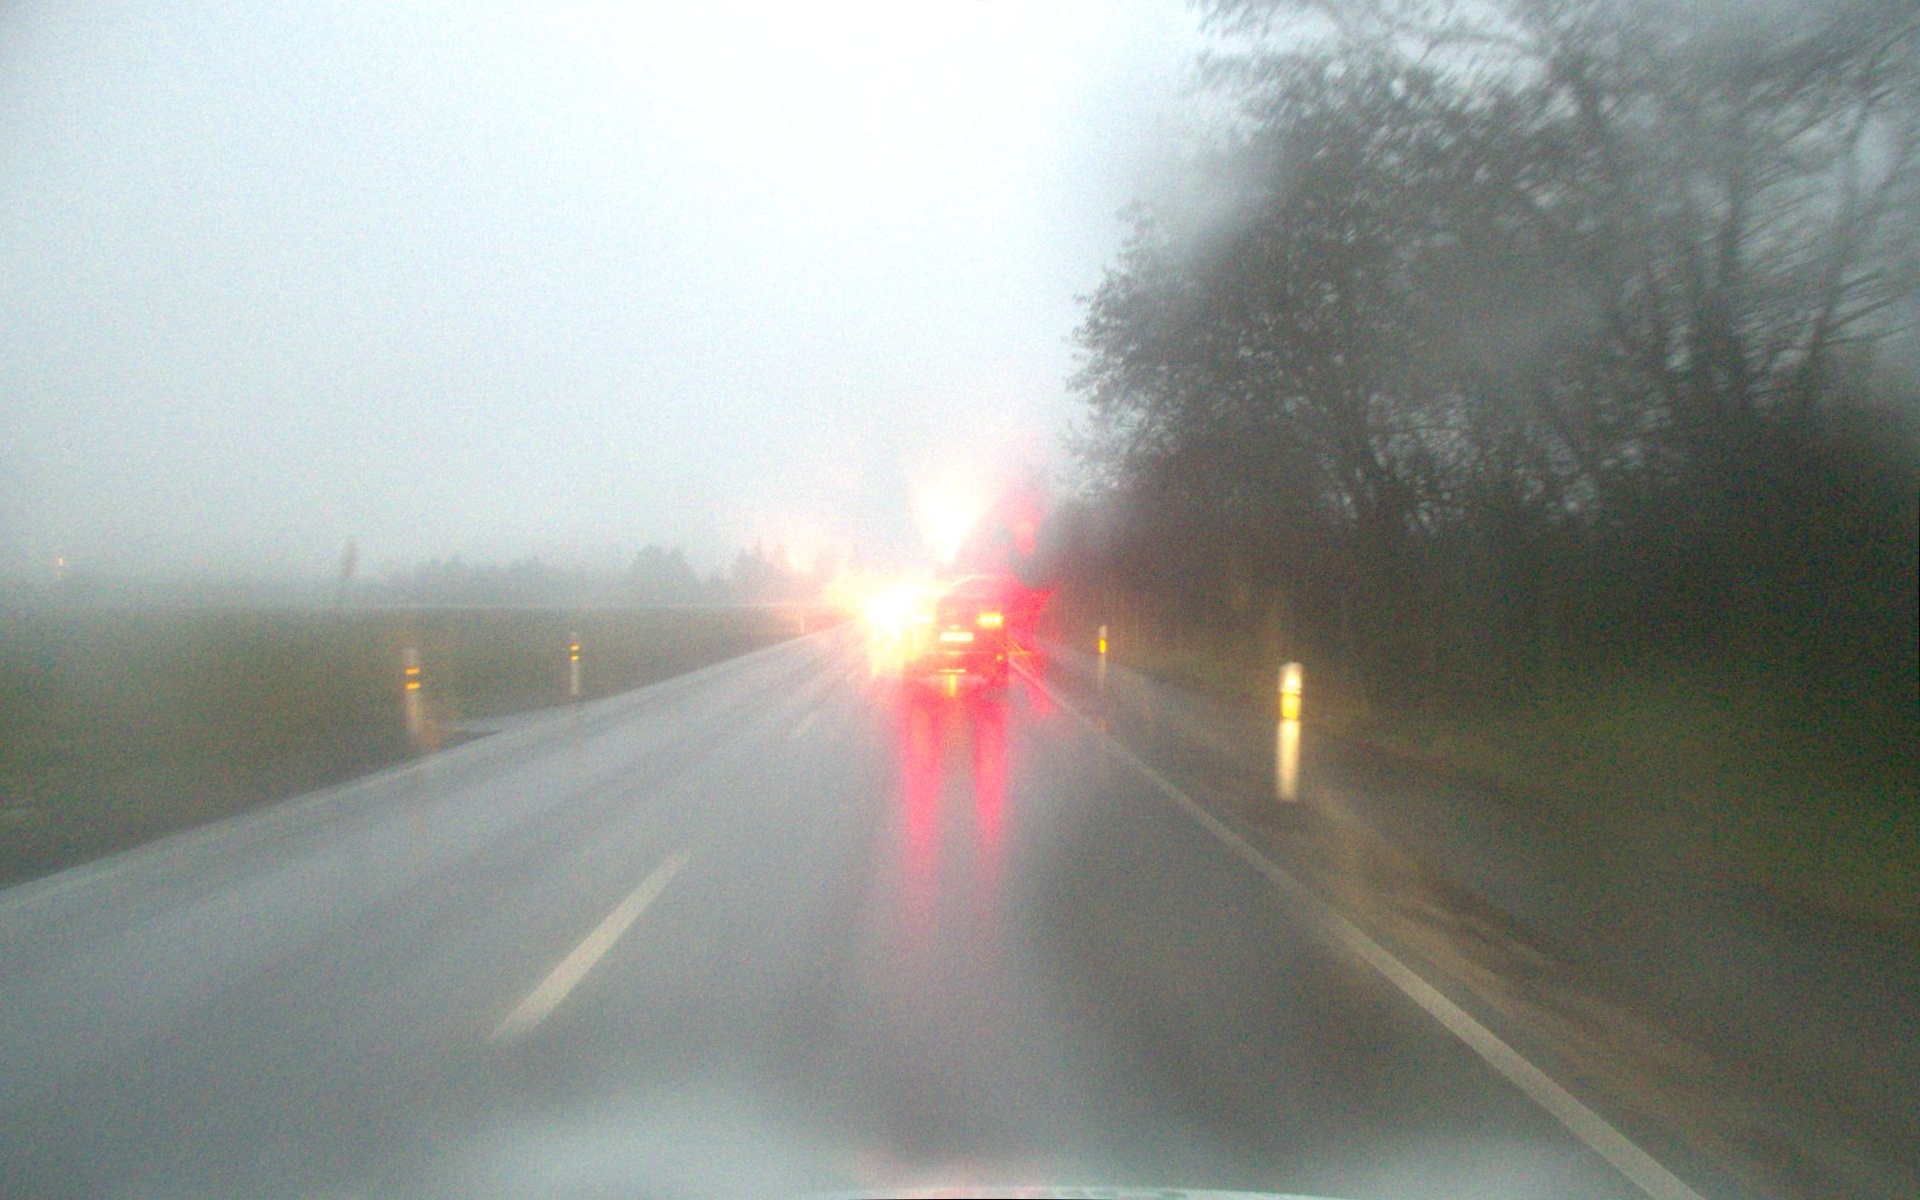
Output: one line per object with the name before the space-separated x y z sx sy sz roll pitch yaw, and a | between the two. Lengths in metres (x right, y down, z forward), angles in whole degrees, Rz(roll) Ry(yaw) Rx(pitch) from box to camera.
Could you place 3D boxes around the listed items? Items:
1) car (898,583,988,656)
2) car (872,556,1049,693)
car | -0.498 0.562 50.323 2.539 2.049 5.803 1 0 0
car | 0.004 0.393 29.128 2.763 2.113 5.803 1 0 0
